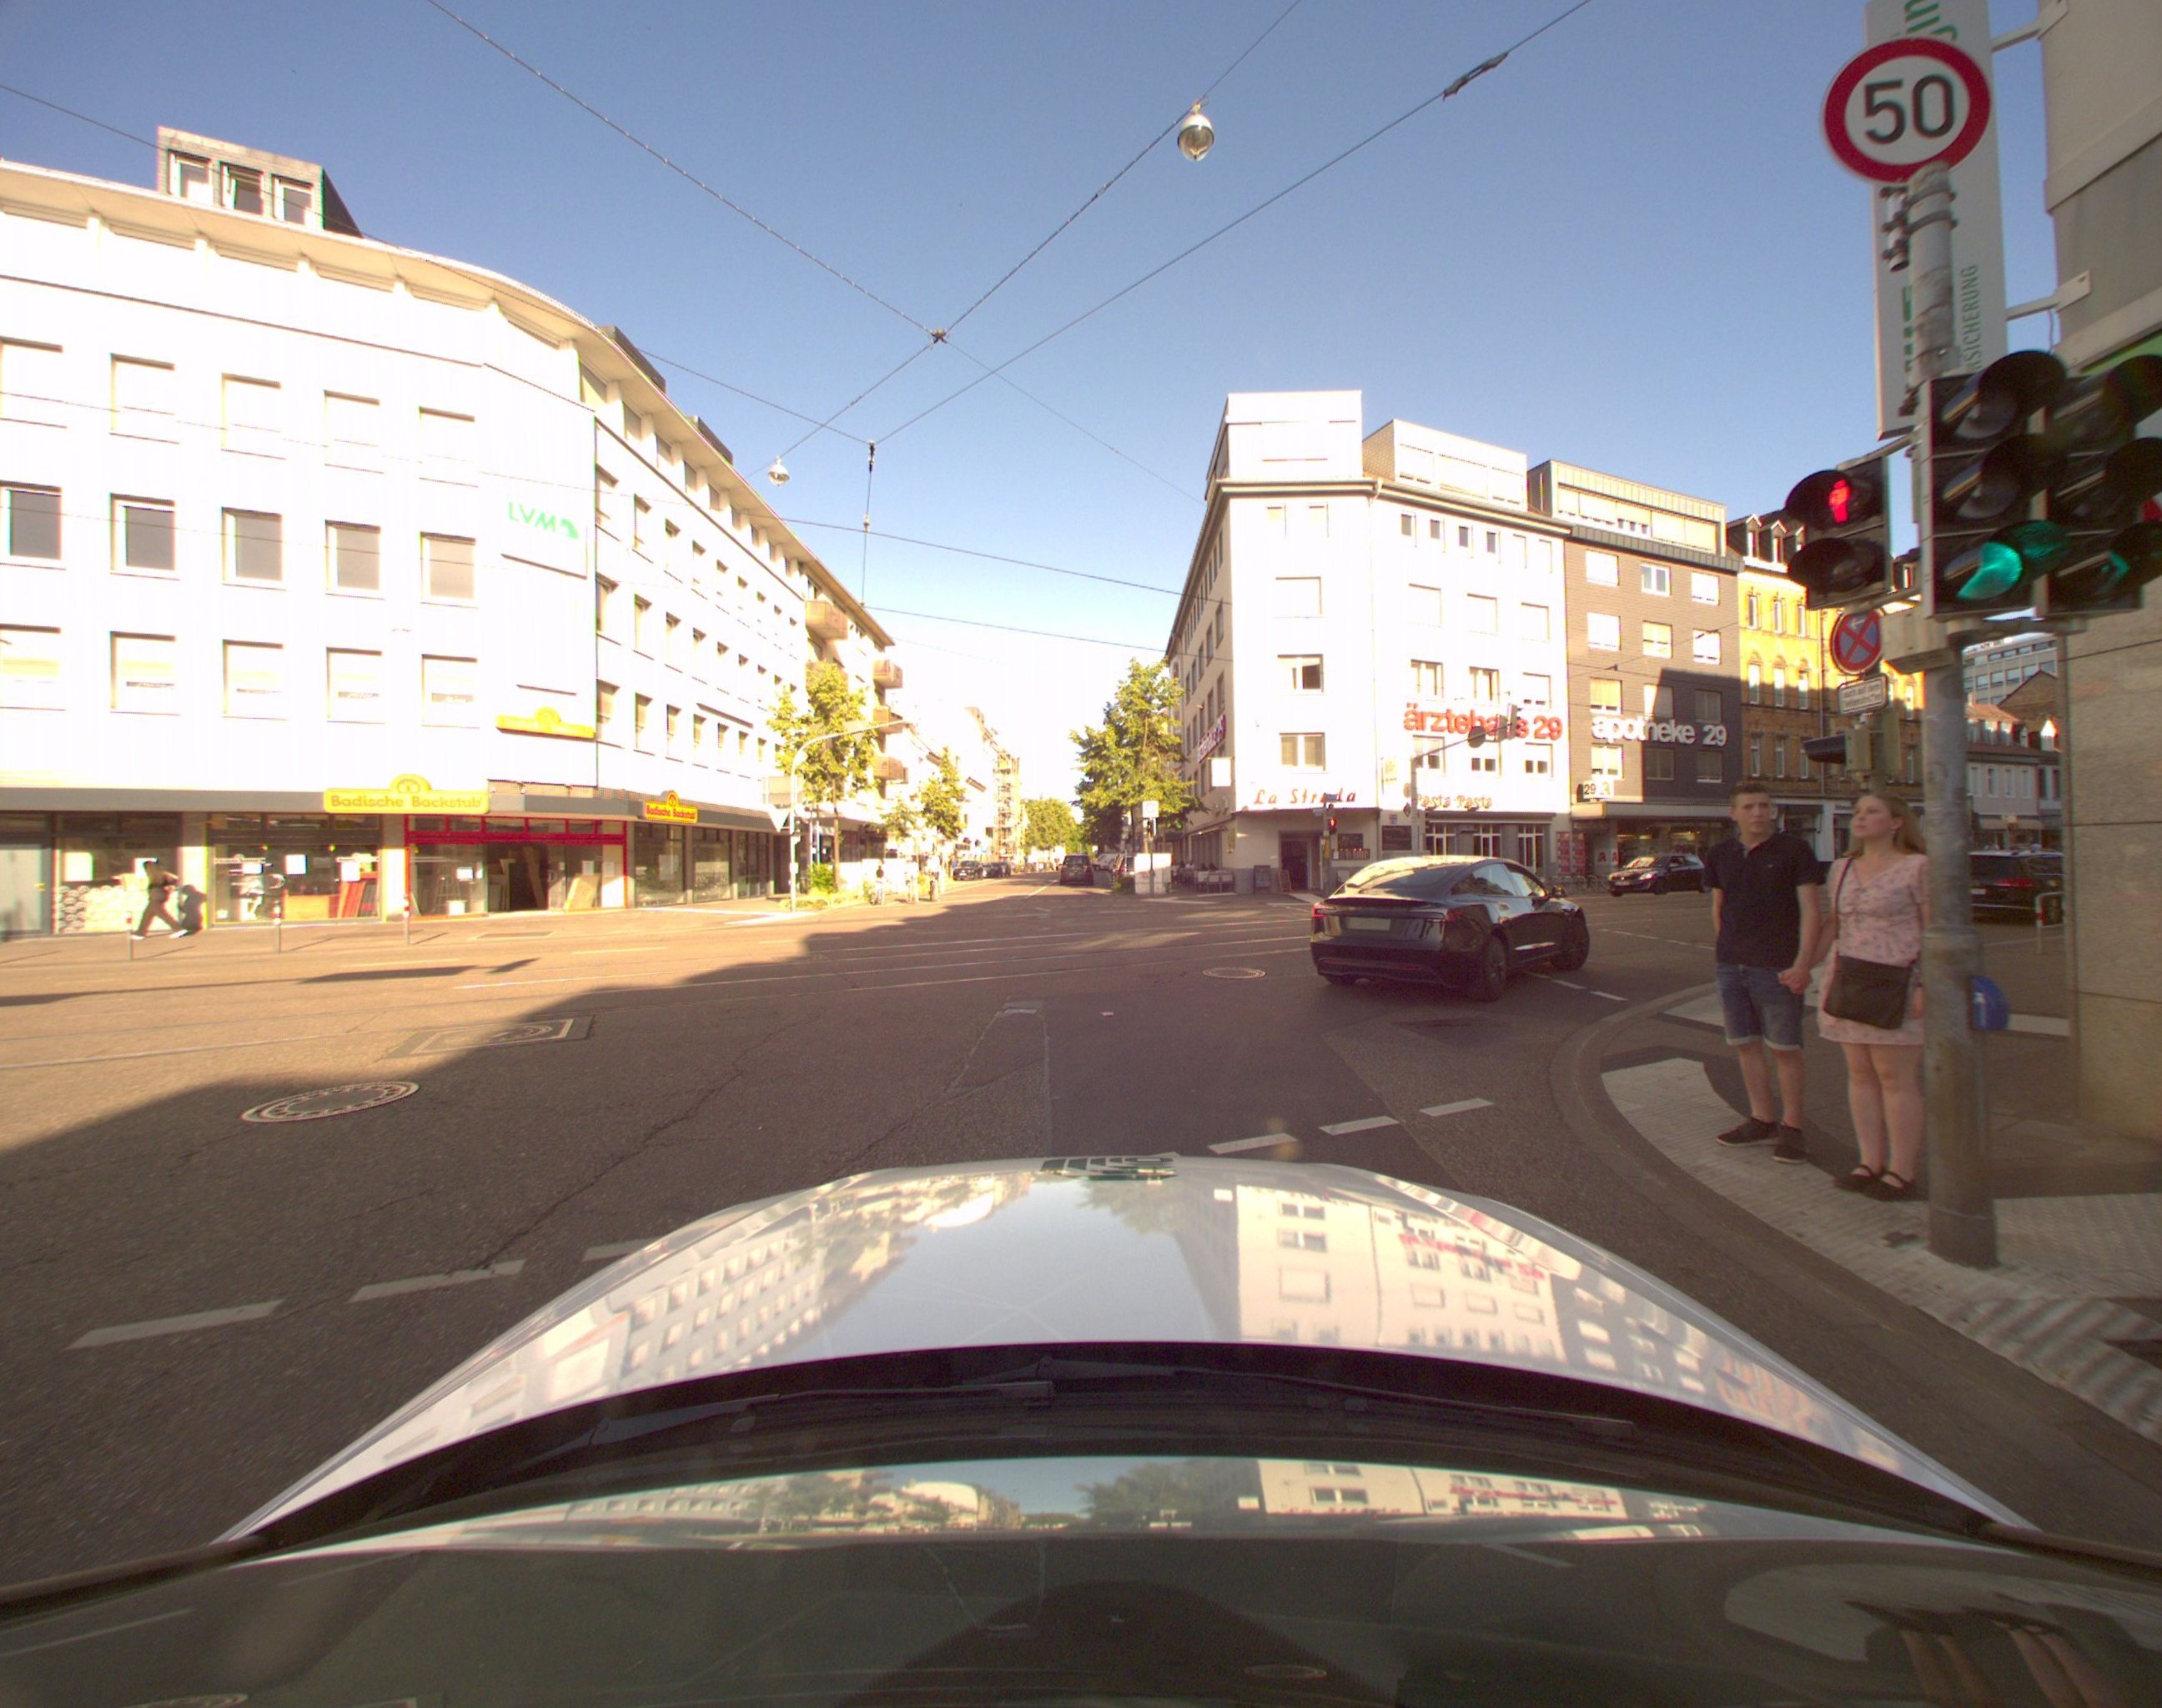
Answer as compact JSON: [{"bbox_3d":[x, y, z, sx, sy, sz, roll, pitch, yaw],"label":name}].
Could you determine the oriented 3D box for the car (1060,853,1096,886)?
[{"bbox_3d":[-0.119,0.843,45.875,1.897,1.733,4.290,-1,0,2],"label":"car"}]

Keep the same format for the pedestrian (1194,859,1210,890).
[{"bbox_3d":[5.197,0.880,34.897,0.584,1.313,0.560,-1,-1,1],"label":"pedestrian"}]

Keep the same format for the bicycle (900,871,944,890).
[{"bbox_3d":[-9.011,1.511,46.247,2.389,0.978,0.654,-1,-1,-9],"label":"bicycle"}]

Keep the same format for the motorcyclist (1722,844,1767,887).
[{"bbox_3d":[24.607,0.433,30.194,1.147,1.558,0.799,0,-2,-22],"label":"motorcyclist"}]

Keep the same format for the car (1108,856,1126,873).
[{"bbox_3d":[3.983,1.174,90.707,1.986,1.824,4.002,0,0,2],"label":"car"}]

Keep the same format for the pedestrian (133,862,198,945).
[{"bbox_3d":[-19.513,1.042,17.365,0.557,1.709,0.712,-1,-1,-1],"label":"pedestrian"}]

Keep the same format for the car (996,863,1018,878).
[{"bbox_3d":[-7.401,1.658,81.634,1.780,1.402,3.905,-1,0,0],"label":"car"}]

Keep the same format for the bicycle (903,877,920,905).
[{"bbox_3d":[-6.380,1.379,30.672,0.552,0.968,1.788,-1,-1,-10],"label":"bicycle"}]

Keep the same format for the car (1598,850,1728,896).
[{"bbox_3d":[20.287,0.658,28.383,4.142,1.446,1.705,-1,-3,-23],"label":"car"}]

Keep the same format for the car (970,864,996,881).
[{"bbox_3d":[-8.591,1.606,71.751,1.780,1.402,3.905,-1,0,0],"label":"car"}]

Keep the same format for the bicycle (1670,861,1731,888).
[{"bbox_3d":[26.502,0.859,34.870,0.776,1.111,1.923,-1,-1,-27],"label":"bicycle"}]

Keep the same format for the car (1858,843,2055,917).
[{"bbox_3d":[18.804,0.513,17.471,4.364,1.418,1.752,0,-1,-27],"label":"car"}]

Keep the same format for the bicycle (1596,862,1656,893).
[{"bbox_3d":[22.371,0.942,33.439,0.776,1.172,1.924,-1,1,-27],"label":"bicycle"}]

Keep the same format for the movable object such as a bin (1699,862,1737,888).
[{"bbox_3d":[27.717,0.890,35.468,0.735,1.071,1.095,-1,1,-22],"label":"movable object such as a bin"}]

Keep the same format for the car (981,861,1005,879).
[{"bbox_3d":[-8.280,1.510,76.797,1.712,1.610,3.598,-1,0,1],"label":"car"}]

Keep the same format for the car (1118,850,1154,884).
[{"bbox_3d":[3.107,0.720,47.043,1.897,1.852,4.290,-1,0,2],"label":"car"}]

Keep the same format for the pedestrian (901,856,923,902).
[{"bbox_3d":[-6.401,0.936,30.833,0.779,1.728,0.557,0,-1,-13],"label":"pedestrian"}]

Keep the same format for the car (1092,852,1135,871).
[{"bbox_3d":[4.068,0.943,102.350,5.374,2.145,2.000,-1,-1,0],"label":"car"}]

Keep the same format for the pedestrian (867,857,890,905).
[{"bbox_3d":[-7.338,0.955,29.577,0.791,1.712,0.651,0,-1,-14],"label":"pedestrian"}]

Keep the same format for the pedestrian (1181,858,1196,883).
[{"bbox_3d":[6.035,0.906,45.653,0.728,1.360,0.959,-1,-1,1],"label":"pedestrian"}]

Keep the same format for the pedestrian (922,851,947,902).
[{"bbox_3d":[-5.513,0.836,30.629,0.779,1.866,0.997,-3,0,-13],"label":"pedestrian"}]

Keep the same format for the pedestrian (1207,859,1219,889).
[{"bbox_3d":[5.770,0.874,35.667,0.485,1.322,0.655,-1,-1,9],"label":"pedestrian"}]

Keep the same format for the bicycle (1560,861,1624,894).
[{"bbox_3d":[20.442,0.912,32.643,0.776,1.223,2.091,-1,1,-27],"label":"bicycle"}]

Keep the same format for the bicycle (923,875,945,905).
[{"bbox_3d":[-5.512,1.334,30.570,0.758,1.007,1.719,-4,0,-10],"label":"bicycle"}]

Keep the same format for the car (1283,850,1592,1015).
[{"bbox_3d":[4.345,0.706,9.529,1.852,1.427,4.390,-1,0,45],"label":"car"}]

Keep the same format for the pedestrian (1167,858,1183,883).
[{"bbox_3d":[5.251,0.923,45.506,0.707,1.347,1.059,-1,-1,-2],"label":"pedestrian"}]

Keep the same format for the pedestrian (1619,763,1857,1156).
[{"bbox_3d":[3.316,0.496,4.174,0.637,1.842,0.682,-1,0,1],"label":"pedestrian"}]

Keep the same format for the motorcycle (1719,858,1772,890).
[{"bbox_3d":[24.664,0.742,30.202,2.119,1.120,0.567,-1,-2,-23],"label":"motorcycle"}]

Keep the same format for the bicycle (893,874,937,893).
[{"bbox_3d":[-9.147,1.608,44.924,2.397,0.958,0.543,-1,-1,-11],"label":"bicycle"}]

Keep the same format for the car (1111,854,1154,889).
[{"bbox_3d":[2.523,0.856,40.621,1.993,1.636,4.290,-1,0,2],"label":"car"}]

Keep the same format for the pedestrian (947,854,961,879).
[{"bbox_3d":[-10.581,1.029,67.892,0.952,2.013,1.085,-4,0,-12],"label":"pedestrian"}]

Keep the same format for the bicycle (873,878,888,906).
[{"bbox_3d":[-7.362,1.379,29.915,0.480,0.955,1.449,-1,-1,-12],"label":"bicycle"}]

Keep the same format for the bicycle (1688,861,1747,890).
[{"bbox_3d":[27.328,0.898,35.001,0.553,1.190,1.924,-1,0,-26],"label":"bicycle"}]

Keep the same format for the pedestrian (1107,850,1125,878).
[{"bbox_3d":[2.441,0.682,57.098,0.950,1.915,1.110,-2,-1,17],"label":"pedestrian"}]

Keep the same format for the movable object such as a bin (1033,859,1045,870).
[{"bbox_3d":[-5.288,1.298,102.256,1.311,1.407,1.065,-1,0,-16],"label":"movable object such as a bin"}]

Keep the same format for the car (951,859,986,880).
[{"bbox_3d":[-8.773,1.159,63.992,1.985,1.598,4.003,0,0,3],"label":"car"}]

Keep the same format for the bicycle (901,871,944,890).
[{"bbox_3d":[-9.125,1.516,47.083,2.396,1.006,0.654,-1,-1,-10],"label":"bicycle"}]

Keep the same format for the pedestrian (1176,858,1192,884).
[{"bbox_3d":[5.621,0.913,44.390,0.728,1.347,1.059,-1,-1,-1],"label":"pedestrian"}]

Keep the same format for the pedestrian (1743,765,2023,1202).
[{"bbox_3d":[3.516,0.523,3.628,0.570,1.759,0.649,-1,-1,1],"label":"pedestrian"}]
